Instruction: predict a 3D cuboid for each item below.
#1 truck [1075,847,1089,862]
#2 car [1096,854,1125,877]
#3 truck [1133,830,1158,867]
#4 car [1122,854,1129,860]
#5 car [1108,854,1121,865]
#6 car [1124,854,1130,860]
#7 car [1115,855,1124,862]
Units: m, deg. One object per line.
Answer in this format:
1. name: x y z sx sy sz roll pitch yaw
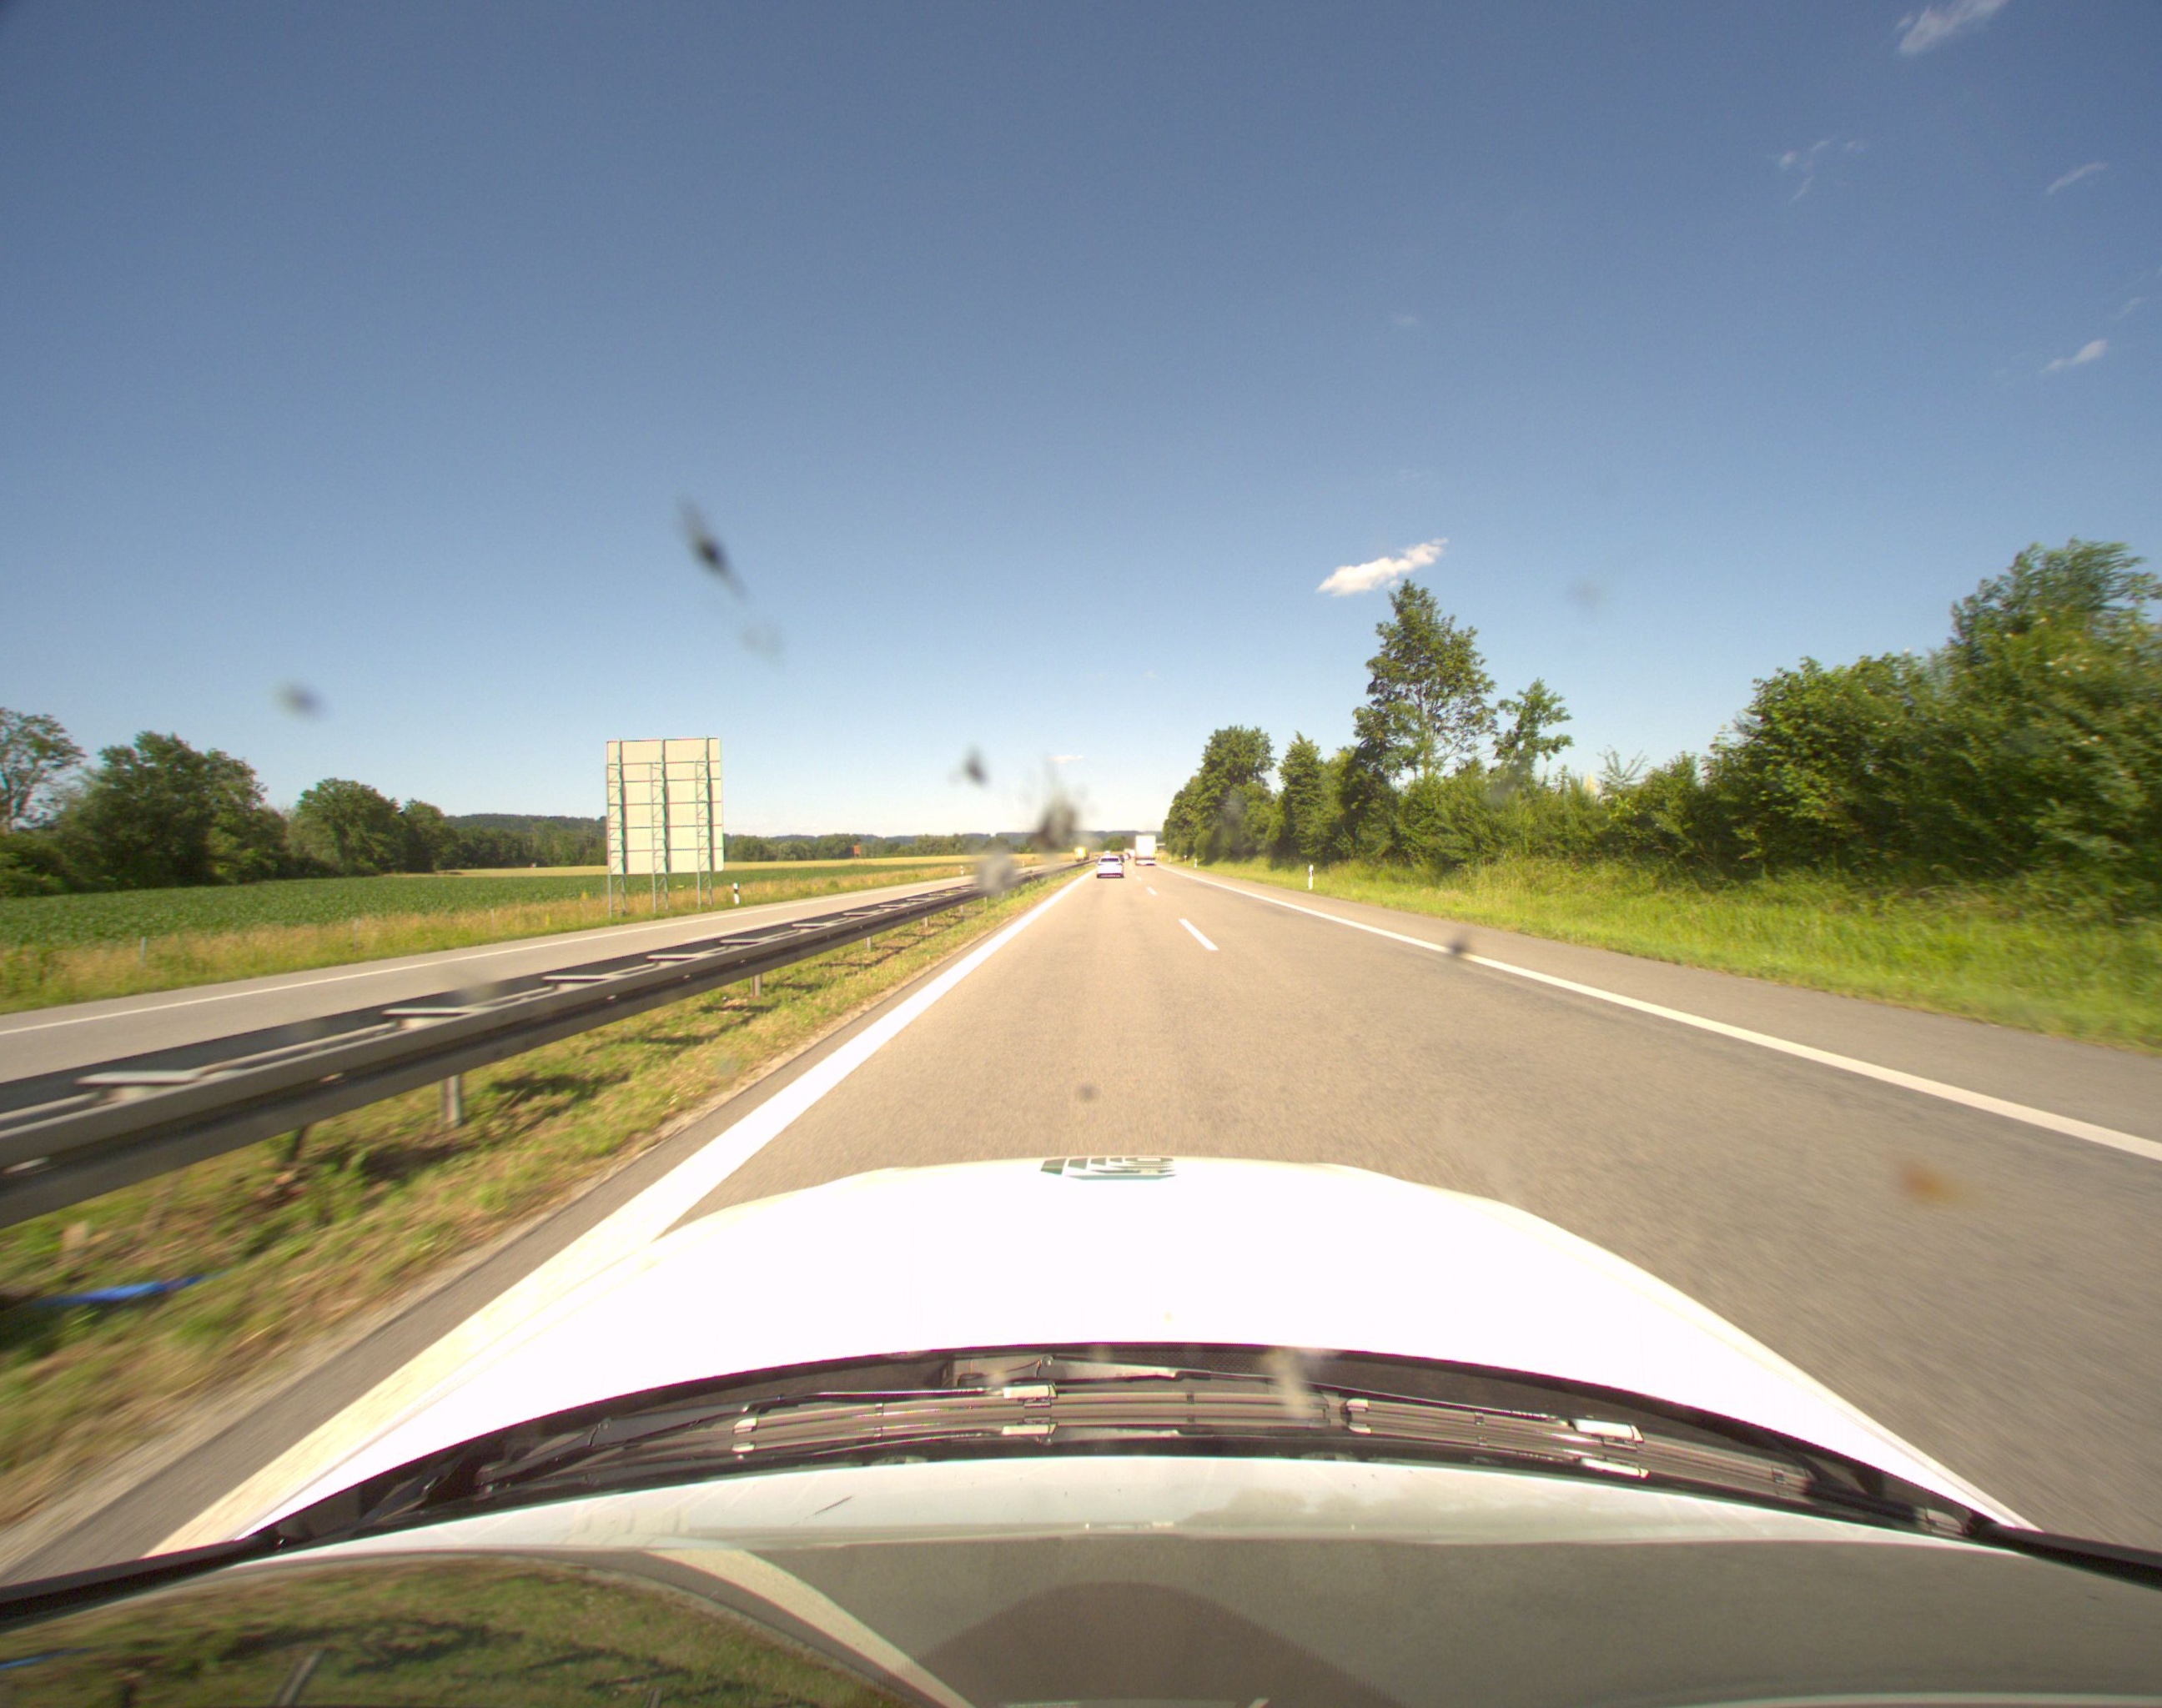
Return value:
1. truck: 0.306 0.131 205.376 2.724 3.383 9.240 -4 0 3
2. car: 1.972 0.738 54.381 1.833 1.421 5.257 0 0 2
3. truck: 8.567 -0.700 109.066 3.139 4.612 8.913 -2 0 3
4. car: 10.818 0.812 199.408 1.764 1.421 4.368 -1 0 3
5. car: 4.596 0.723 110.808 1.764 1.421 4.498 -1 0 3
6. car: 12.468 0.801 220.098 1.764 1.421 4.368 -1 0 3
7. car: 7.414 0.833 156.684 1.764 1.421 4.368 -1 0 3
